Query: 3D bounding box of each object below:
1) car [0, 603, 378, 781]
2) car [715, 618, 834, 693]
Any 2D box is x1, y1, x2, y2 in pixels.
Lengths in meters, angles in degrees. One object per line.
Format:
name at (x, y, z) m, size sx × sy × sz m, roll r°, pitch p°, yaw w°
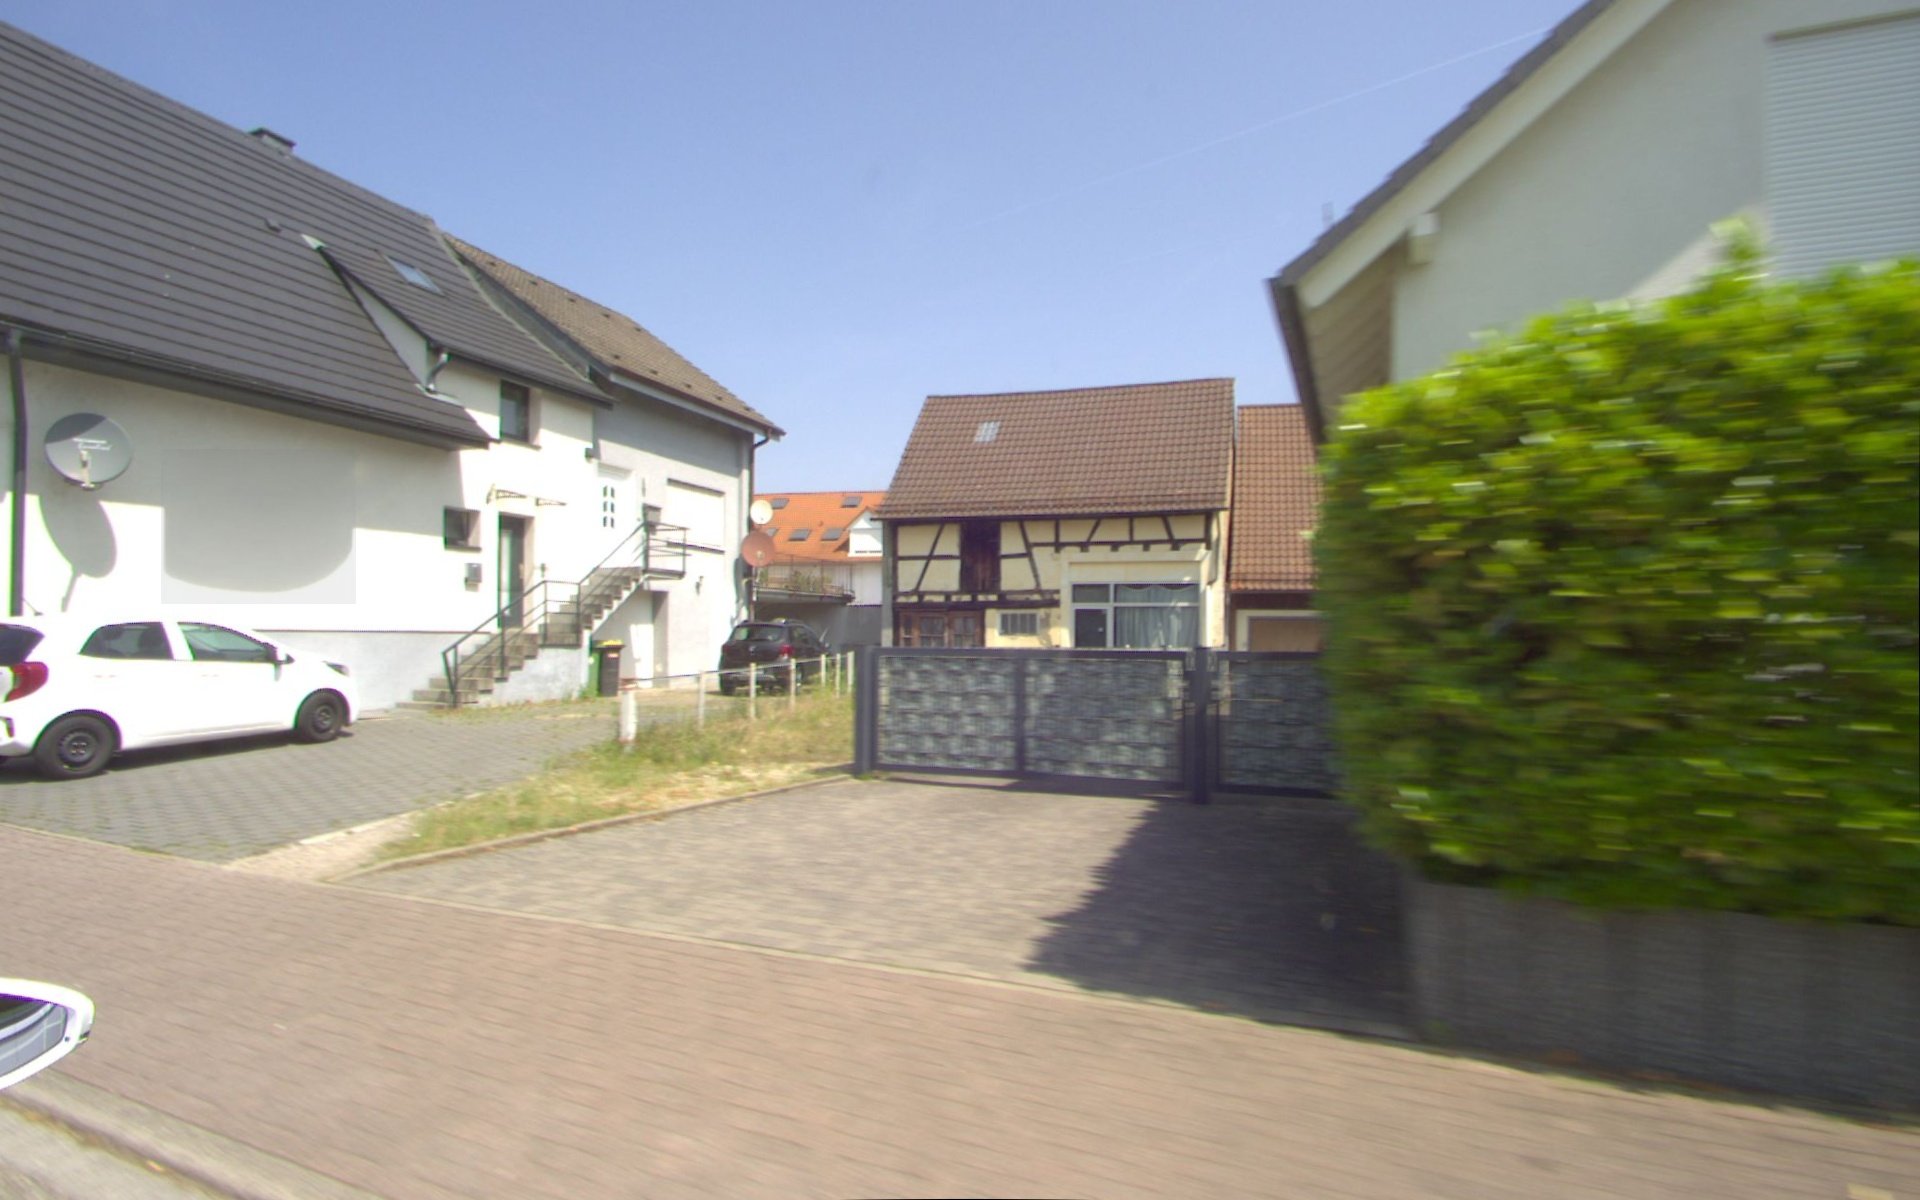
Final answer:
car at (-8.359, 0.791, 10.519) m, size 1.734 × 1.494 × 3.662 m, roll 1°, pitch 0°, yaw 19°
car at (-4.035, 1.230, 22.330) m, size 1.685 × 1.510 × 3.578 m, roll 0°, pitch -3°, yaw 5°
